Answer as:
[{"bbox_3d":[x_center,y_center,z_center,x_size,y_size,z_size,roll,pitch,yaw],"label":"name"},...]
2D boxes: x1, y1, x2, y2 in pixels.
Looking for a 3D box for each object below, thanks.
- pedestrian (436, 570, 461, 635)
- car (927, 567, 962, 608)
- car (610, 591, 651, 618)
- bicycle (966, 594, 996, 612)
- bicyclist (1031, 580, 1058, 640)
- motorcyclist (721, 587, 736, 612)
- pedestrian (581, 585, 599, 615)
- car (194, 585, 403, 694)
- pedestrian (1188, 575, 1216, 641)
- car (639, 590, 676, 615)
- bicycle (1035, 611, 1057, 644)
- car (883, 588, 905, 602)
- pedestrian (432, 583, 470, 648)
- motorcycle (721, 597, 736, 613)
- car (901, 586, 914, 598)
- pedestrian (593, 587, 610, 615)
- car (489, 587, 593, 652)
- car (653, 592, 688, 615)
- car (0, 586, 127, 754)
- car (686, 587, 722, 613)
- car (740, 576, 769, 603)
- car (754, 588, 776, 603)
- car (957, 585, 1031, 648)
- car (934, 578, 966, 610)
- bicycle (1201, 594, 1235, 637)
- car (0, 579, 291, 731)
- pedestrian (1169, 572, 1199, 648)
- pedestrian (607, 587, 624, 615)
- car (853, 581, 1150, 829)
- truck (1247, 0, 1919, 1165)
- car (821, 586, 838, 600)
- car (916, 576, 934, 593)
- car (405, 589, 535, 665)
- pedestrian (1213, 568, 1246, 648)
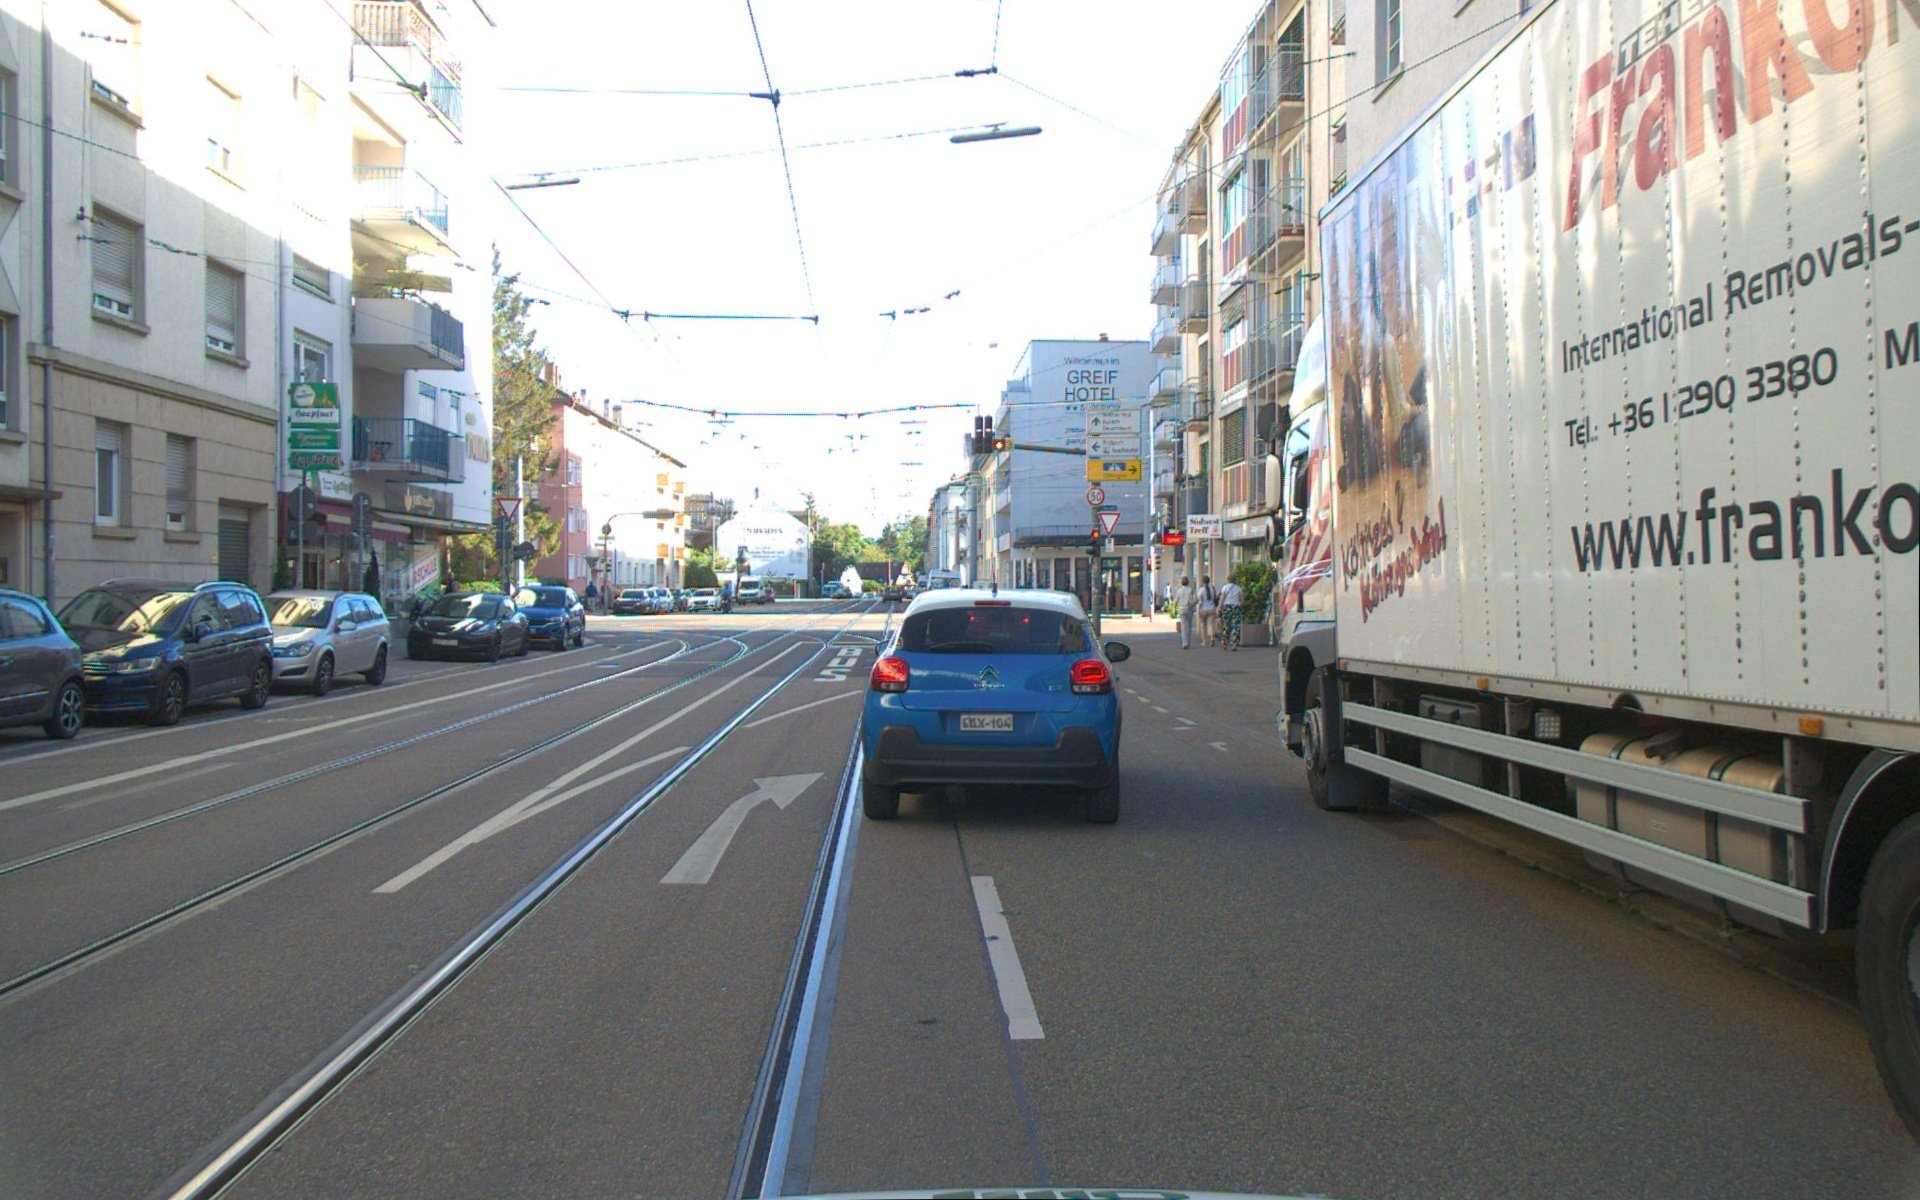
[{"bbox_3d":[-16.105,0.074,52.103,0.673,2.049,0.486,0,0,-5],"label":"pedestrian"},{"bbox_3d":[-0.921,-0.718,98.958,1.953,2.366,3.998,1,0,-2],"label":"car"},{"bbox_3d":[-19.019,0.246,95.619,1.873,1.458,3.996,0,1,-5],"label":"car"},{"bbox_3d":[1.216,0.172,94.893,1.684,0.973,0.702,0,0,2],"label":"bicycle"},{"bbox_3d":[2.374,0.282,46.581,0.711,1.674,0.790,0,0,1],"label":"bicyclist"},{"bbox_3d":[-13.139,-0.023,93.825,0.704,1.402,0.911,0,0,1],"label":"motorcyclist"},{"bbox_3d":[-21.175,-0.010,94.588,0.826,1.720,0.737,0,0,3],"label":"pedestrian"},{"bbox_3d":[-10.260,0.582,26.022,1.665,1.536,4.384,1,0,-3],"label":"car"},{"bbox_3d":[5.800,0.185,39.597,0.530,1.534,0.611,-2,2,-1],"label":"pedestrian"},{"bbox_3d":[-19.353,0.165,105.977,1.873,1.523,3.998,0,1,-3],"label":"car"},{"bbox_3d":[2.421,0.772,46.806,0.488,0.879,1.748,0,0,-1],"label":"bicycle"},{"bbox_3d":[-5.919,-0.452,148.227,1.721,1.281,3.827,0,1,-6],"label":"car"},{"bbox_3d":[-12.476,0.369,40.587,0.683,1.575,0.721,0,1,1],"label":"pedestrian"},{"bbox_3d":[-13.145,0.269,93.981,0.603,0.879,1.671,0,0,1],"label":"motorcycle"},{"bbox_3d":[-8.156,-1.220,257.633,1.952,1.825,4.001,0,0,1],"label":"car"},{"bbox_3d":[-21.920,0.048,101.050,0.826,1.720,0.737,0,0,3],"label":"pedestrian"},{"bbox_3d":[-10.657,0.488,42.331,1.709,1.536,3.998,1,0,-2],"label":"car"},{"bbox_3d":[-19.695,0.207,112.767,1.873,1.523,3.998,0,1,-3],"label":"car"},{"bbox_3d":[-9.920,0.647,16.092,1.665,1.596,3.998,1,0,-2],"label":"car"},{"bbox_3d":[-16.693,-0.020,107.971,1.813,1.601,4.399,0,0,-3],"label":"car"},{"bbox_3d":[-18.146,-0.957,146.056,2.163,2.290,4.674,0,1,-3],"label":"car"},{"bbox_3d":[-20.167,-0.514,171.296,1.981,1.552,3.998,0,1,-3],"label":"car"},{"bbox_3d":[0.806,0.356,40.136,1.702,1.445,4.001,0,1,1],"label":"car"},{"bbox_3d":[-0.571,-0.352,94.037,1.697,1.780,3.212,1,0,-2],"label":"car"},{"bbox_3d":[6.644,0.390,42.582,0.519,1.091,1.810,0,0,-2],"label":"bicycle"},{"bbox_3d":[-9.903,0.616,20.387,1.665,1.644,4.242,1,0,-2],"label":"car"},{"bbox_3d":[5.120,0.217,37.863,0.530,1.701,0.624,-2,2,-1],"label":"pedestrian"},{"bbox_3d":[-21.057,0.059,101.146,0.826,1.720,0.737,0,0,3],"label":"pedestrian"},{"bbox_3d":[0.131,0.629,12.050,1.710,1.488,3.996,1,0,-5],"label":"car"},{"bbox_3d":[3.801,-0.665,7.298,2.802,4.144,11.776,-1,1,-1],"label":"truck"},{"bbox_3d":[-15.463,-0.843,196.175,1.981,1.552,3.998,0,1,-3],"label":"car"},{"bbox_3d":[-3.363,-1.473,157.863,1.655,1.646,3.999,1,0,-1],"label":"car"},{"bbox_3d":[-10.687,0.564,36.373,1.665,1.536,4.310,1,0,-2],"label":"car"},{"bbox_3d":[5.850,0.179,35.904,0.530,1.701,0.650,-2,0,-1],"label":"pedestrian"}]
